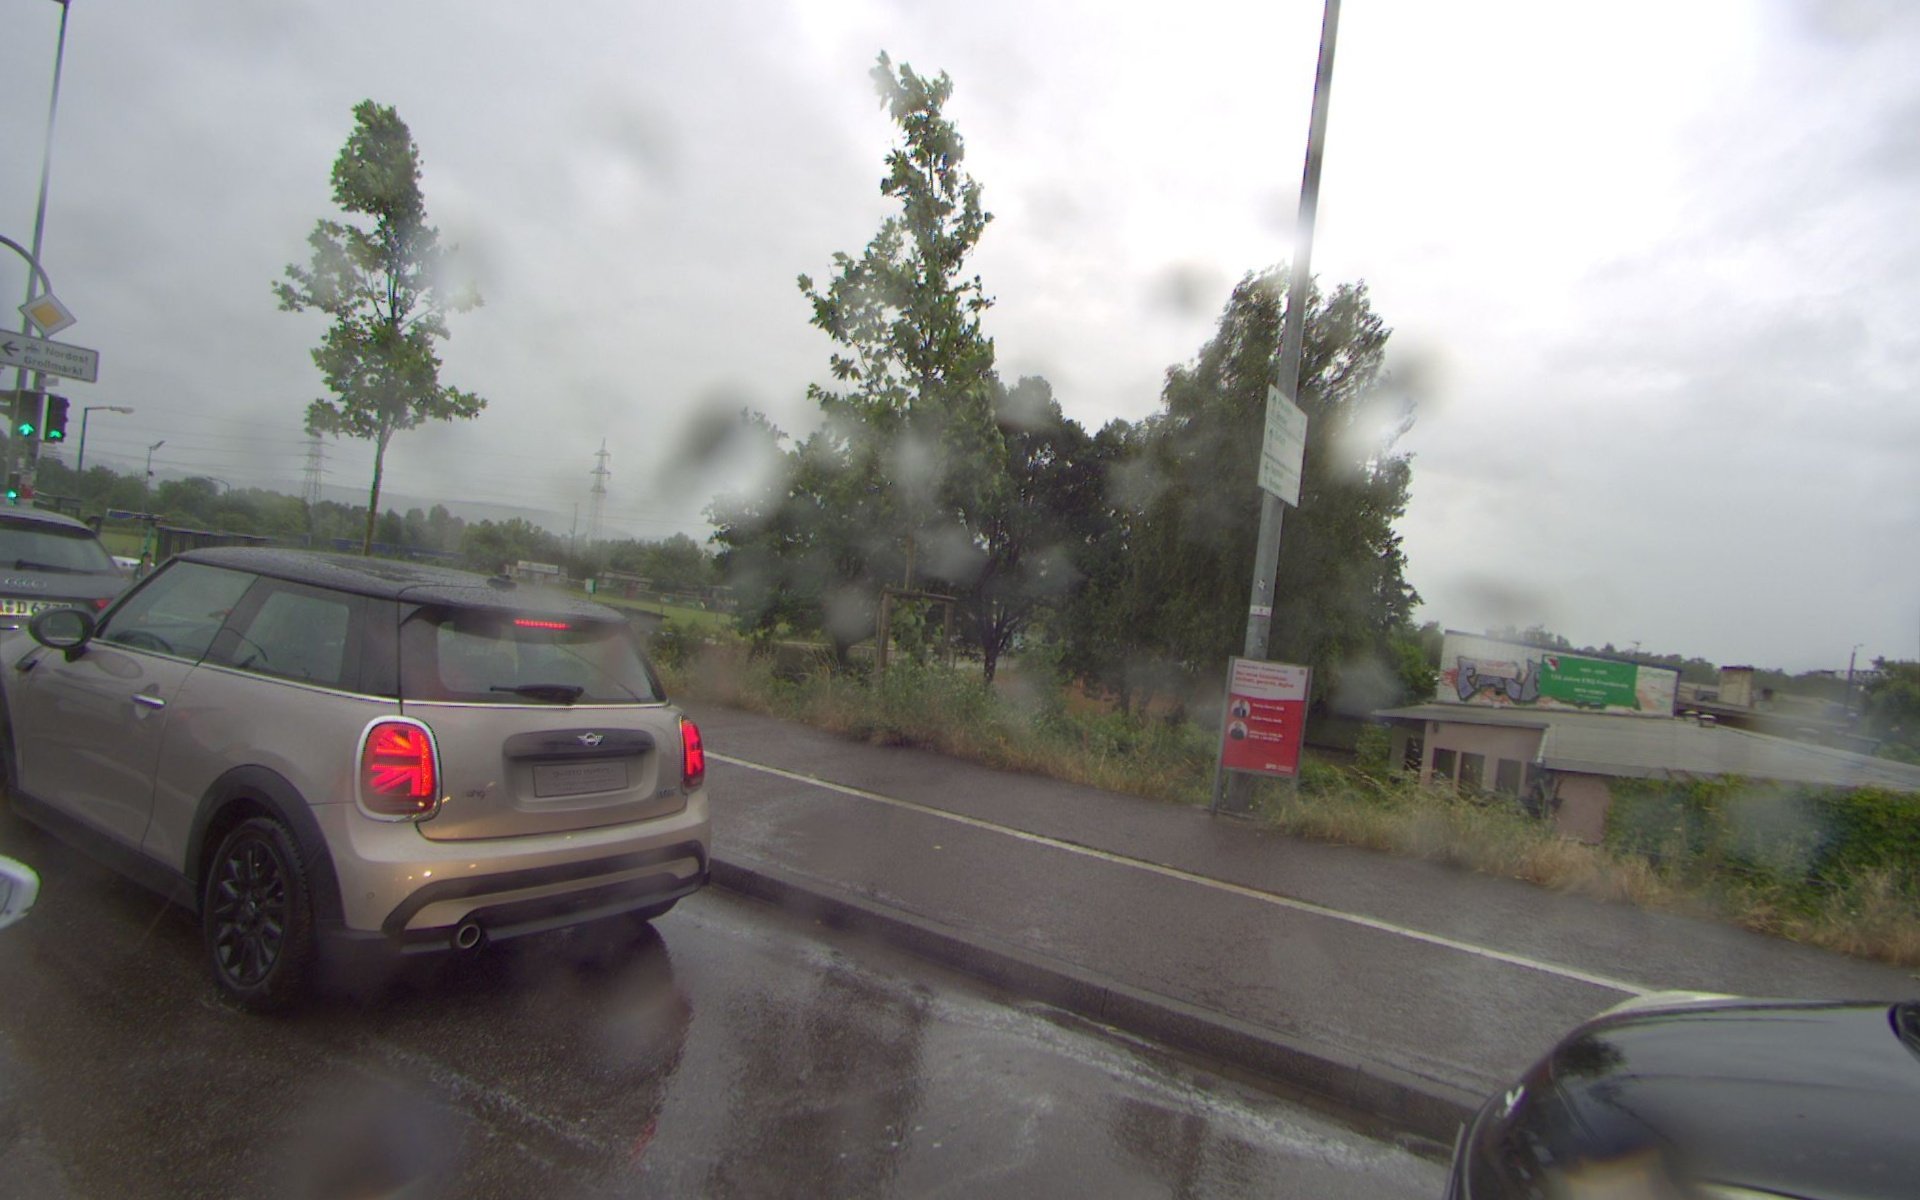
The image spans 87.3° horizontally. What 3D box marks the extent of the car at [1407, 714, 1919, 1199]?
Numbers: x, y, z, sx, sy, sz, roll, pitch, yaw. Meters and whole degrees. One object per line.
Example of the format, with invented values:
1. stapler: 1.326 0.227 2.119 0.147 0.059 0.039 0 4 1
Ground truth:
1. car: 2.548 1.152 1.215 3.563 1.445 1.632 7 -1 31

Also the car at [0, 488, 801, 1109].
1. car: -2.698 0.490 4.314 3.563 1.525 1.717 7 -2 31

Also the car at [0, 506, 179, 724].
1. car: -7.486 -0.063 7.258 3.563 1.360 1.632 6 -2 31

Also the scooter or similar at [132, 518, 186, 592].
1. scooter or similar: -13.639 -0.773 17.118 1.167 1.171 0.246 6 -1 33
